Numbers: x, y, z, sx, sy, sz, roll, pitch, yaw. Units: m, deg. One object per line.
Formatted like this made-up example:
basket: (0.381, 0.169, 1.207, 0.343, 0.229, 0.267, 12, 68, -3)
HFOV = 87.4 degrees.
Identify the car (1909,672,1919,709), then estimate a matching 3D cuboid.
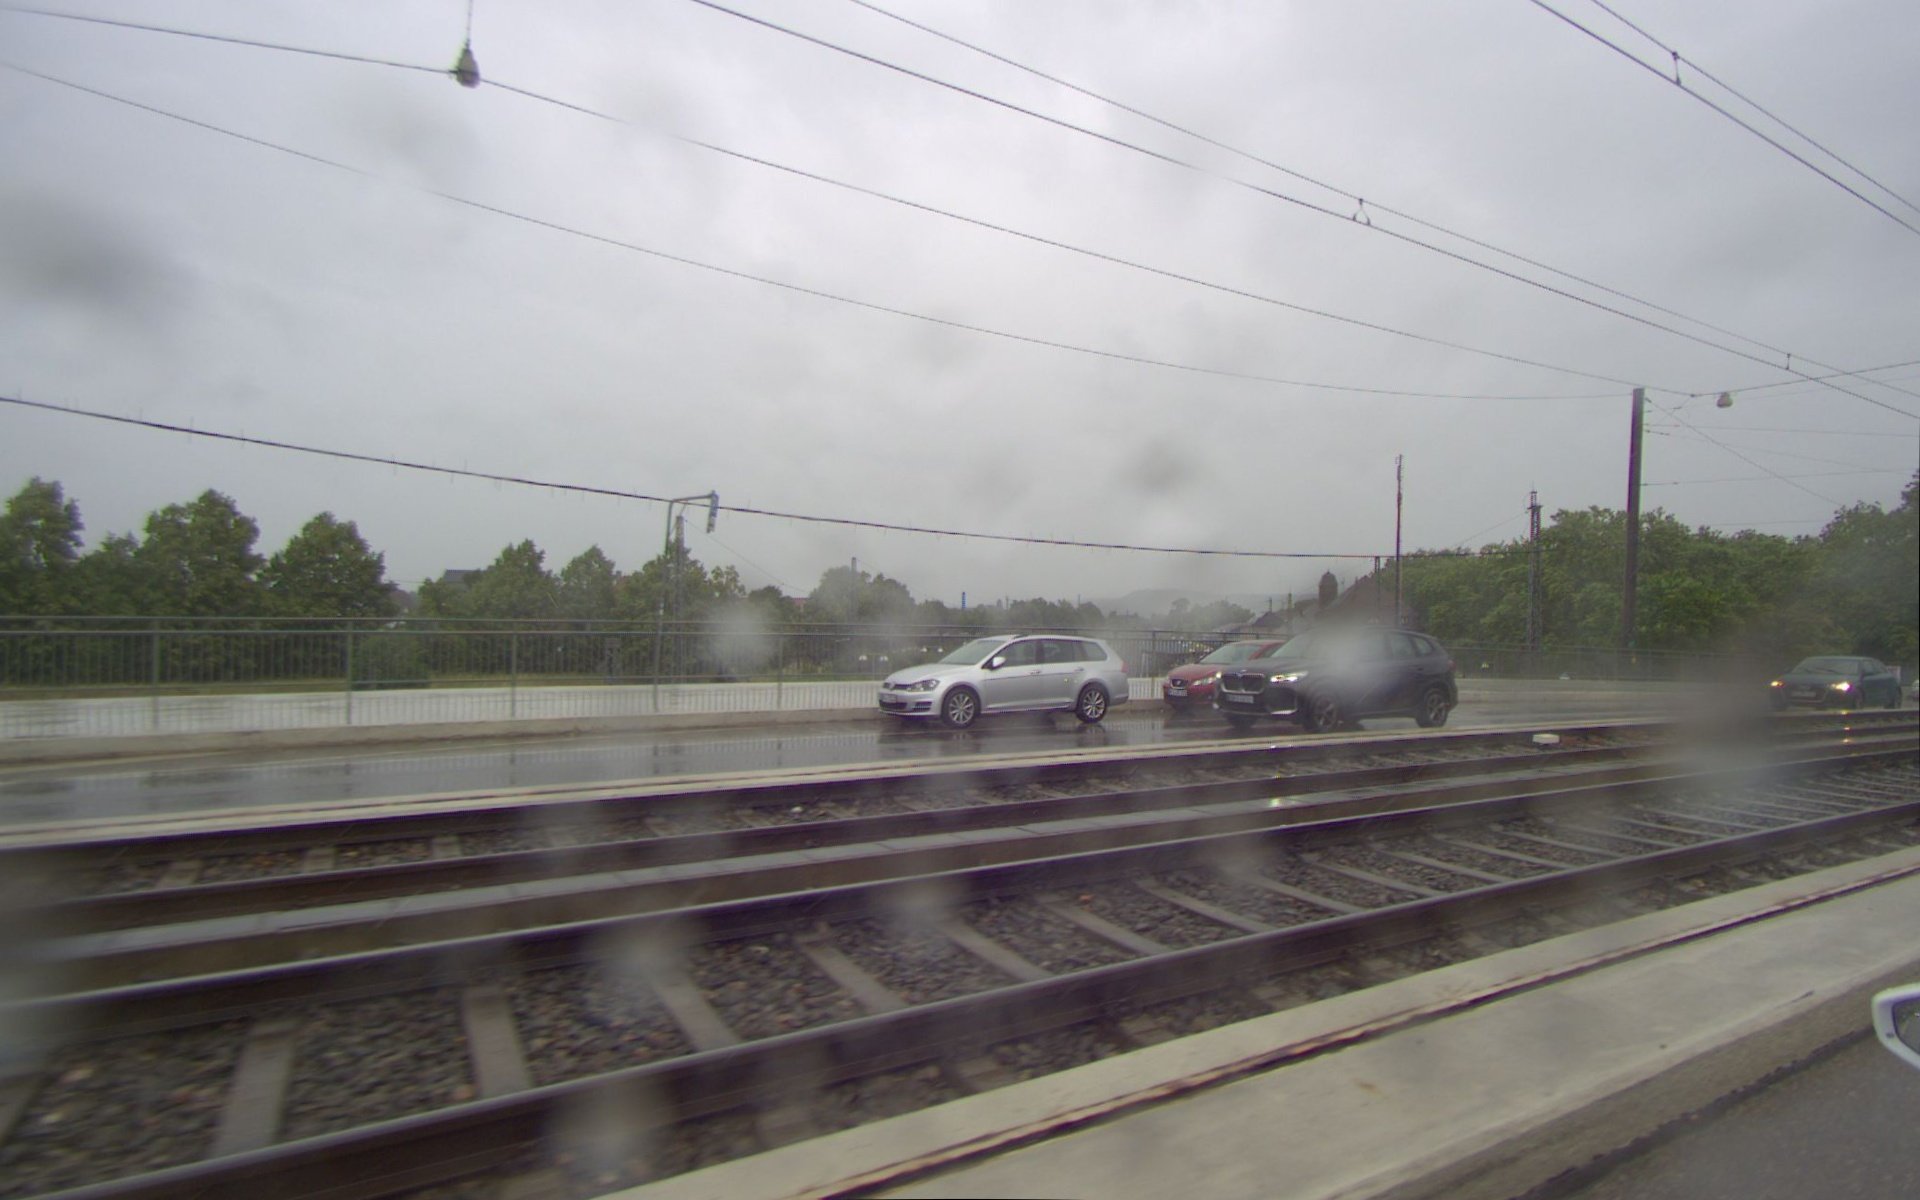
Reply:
car: (40.207, 3.638, 40.418, 4.271, 1.474, 1.854, 2, -3, -32)

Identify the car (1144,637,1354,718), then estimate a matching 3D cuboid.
car: (5.838, 1.519, 20.137, 4.274, 1.474, 1.612, 2, -3, -32)

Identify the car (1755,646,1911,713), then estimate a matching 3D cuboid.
car: (22.383, 1.989, 25.733, 4.036, 1.502, 1.791, 2, 0, -30)

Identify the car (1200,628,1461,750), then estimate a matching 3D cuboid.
car: (5.975, 1.353, 16.127, 3.953, 1.676, 1.809, 2, 0, -30)

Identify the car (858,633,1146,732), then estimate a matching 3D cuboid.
car: (0.765, 1.342, 17.005, 4.568, 1.474, 1.984, 2, -3, -32)
